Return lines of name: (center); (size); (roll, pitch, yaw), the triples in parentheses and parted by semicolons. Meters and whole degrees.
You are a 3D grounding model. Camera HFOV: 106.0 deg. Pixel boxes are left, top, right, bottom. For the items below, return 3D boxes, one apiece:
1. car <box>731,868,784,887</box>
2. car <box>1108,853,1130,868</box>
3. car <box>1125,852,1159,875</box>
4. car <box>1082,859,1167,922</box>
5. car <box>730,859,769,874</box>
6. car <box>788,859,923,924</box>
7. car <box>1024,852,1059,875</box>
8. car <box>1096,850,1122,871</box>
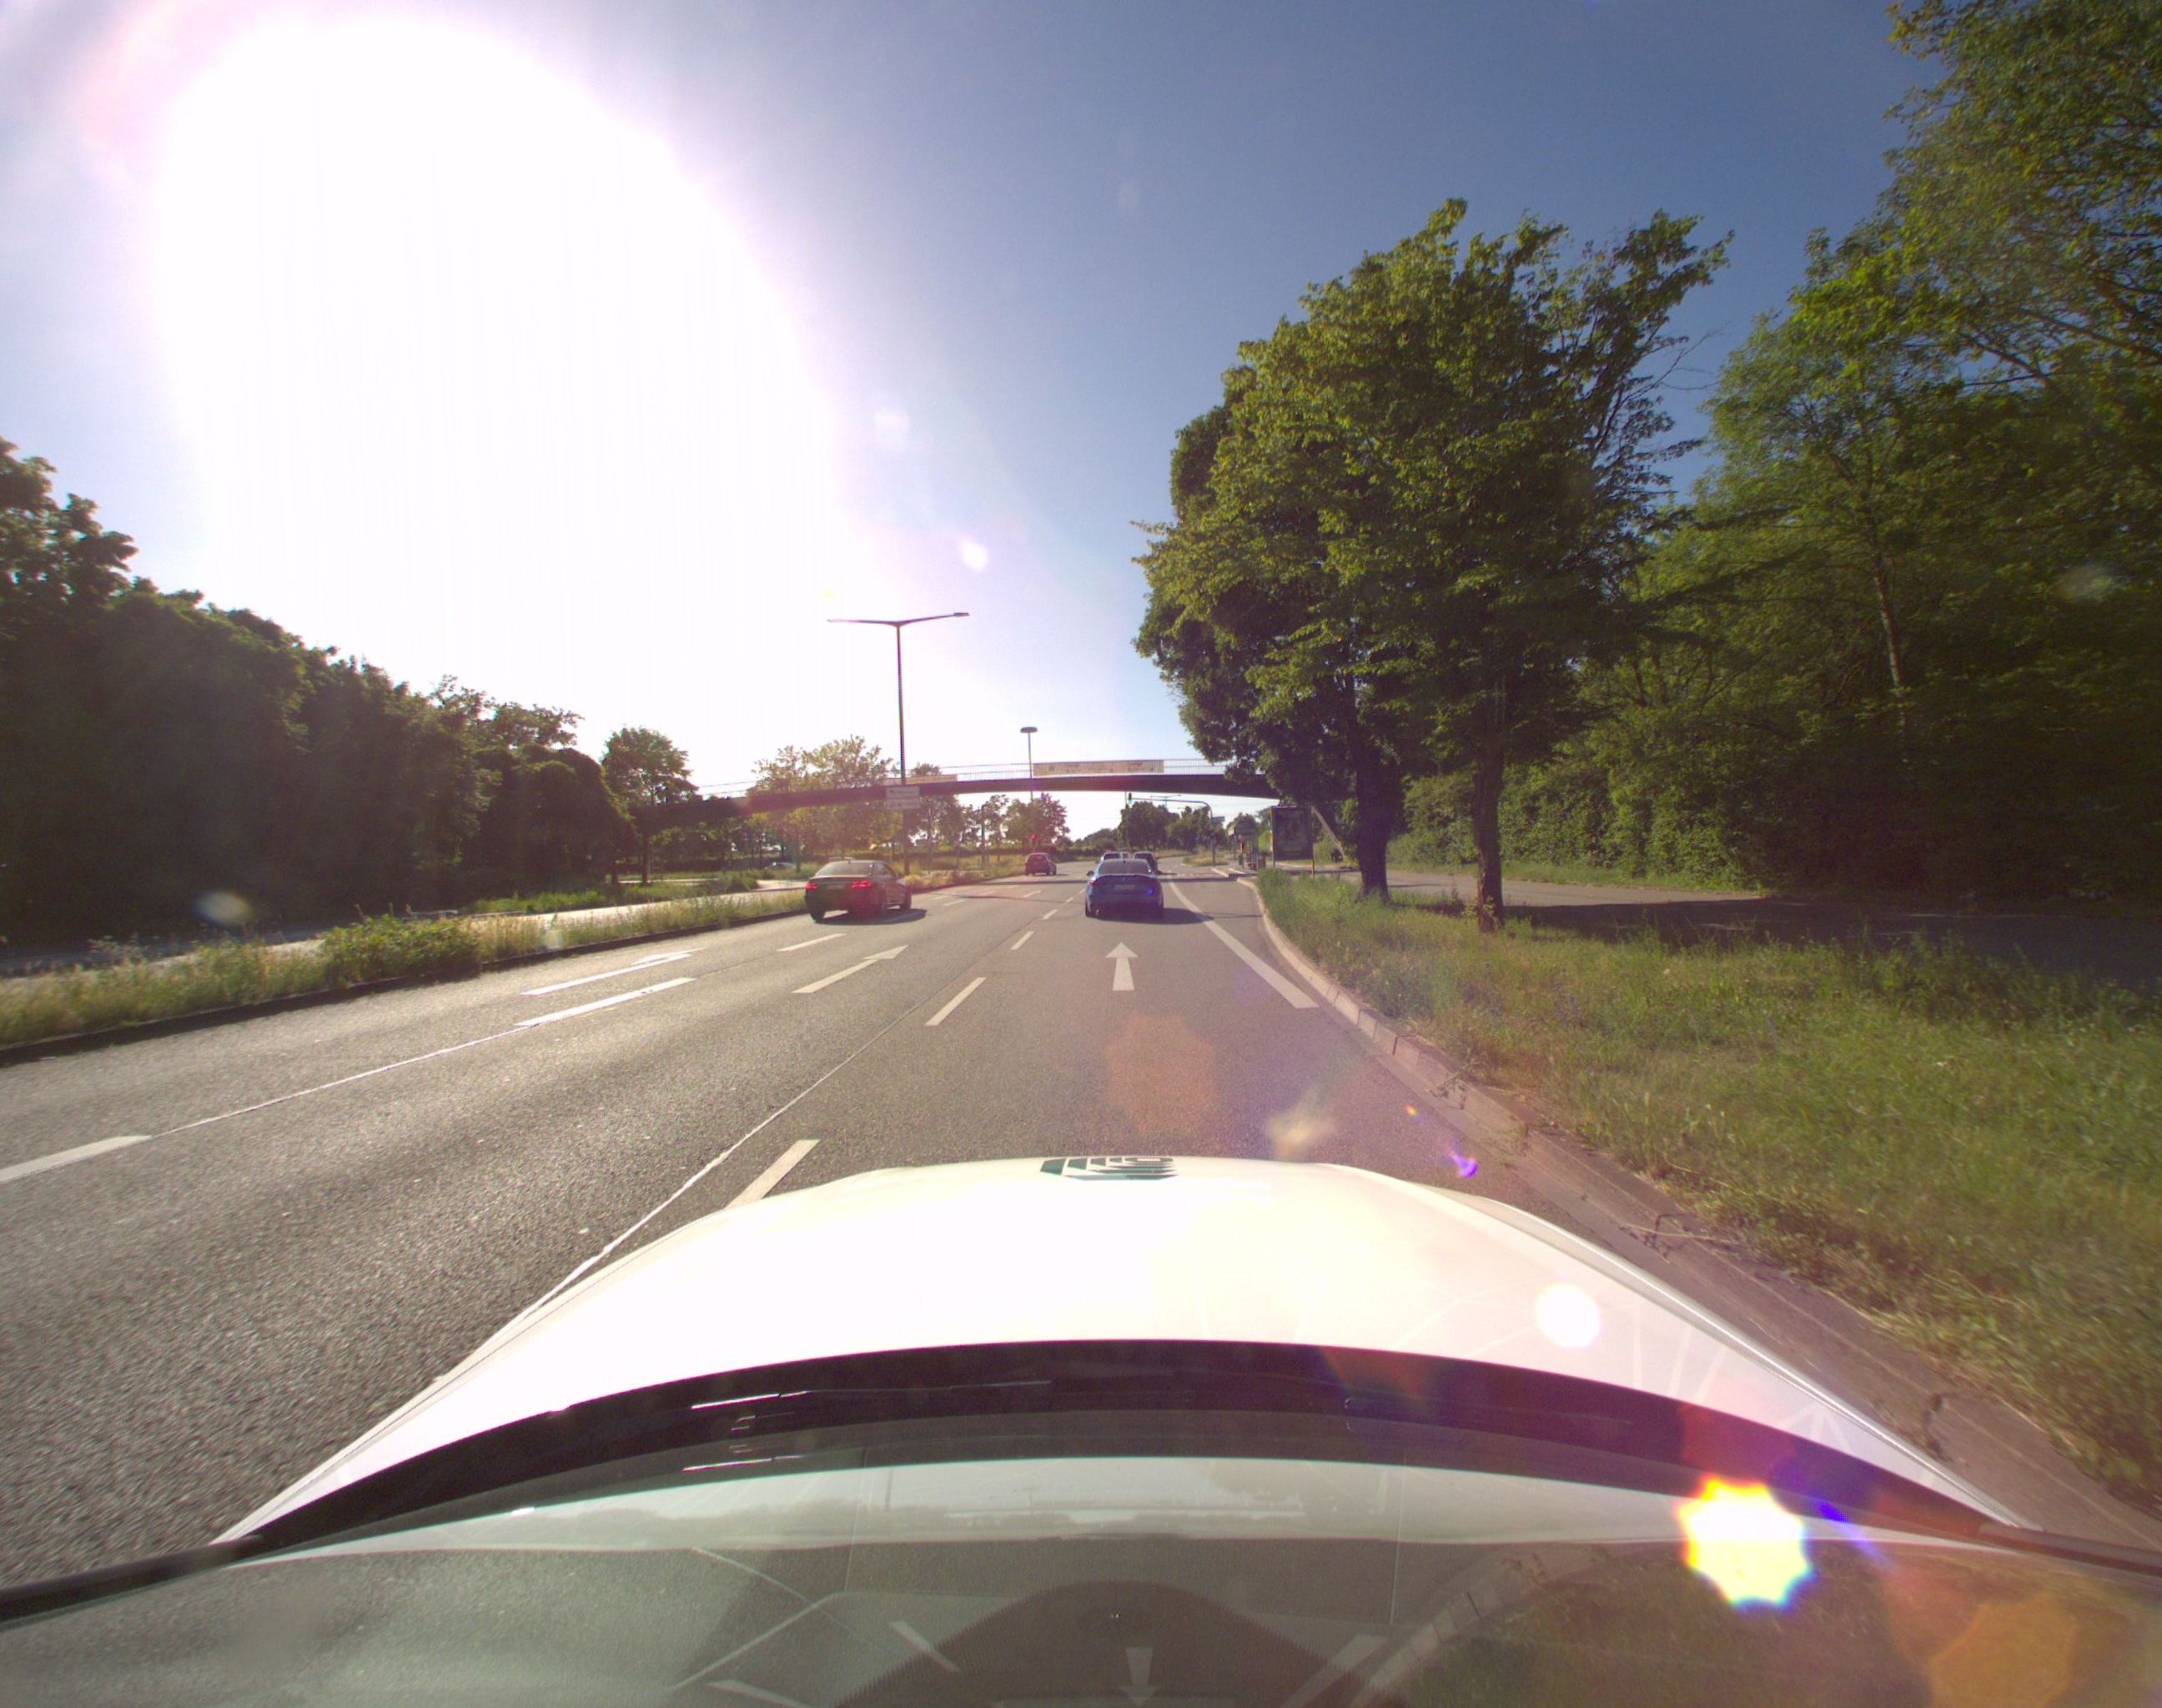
car: (-29.949, 2.137, 75.450); (4.271, 1.650, 2.010); (-2, -1, 19)
car: (3.865, 0.677, 83.105); (1.877, 1.454, 4.524); (-1, -1, -1)
car: (4.058, 0.631, 55.188); (1.877, 1.454, 4.524); (-1, -1, -1)
car: (1.006, 0.865, 20.948); (1.877, 1.406, 4.222); (-1, -1, -1)
car: (-48.393, 1.789, 119.029); (4.768, 2.014, 2.001); (-1, -1, 1)
car: (-5.910, 0.918, 22.068); (1.950, 1.483, 4.923); (-2, 0, 4)
car: (-2.803, 0.703, 58.267); (1.787, 1.556, 3.738); (-1, -1, 7)
car: (2.274, 0.536, 66.594); (1.704, 1.598, 4.218); (-1, -1, -4)
